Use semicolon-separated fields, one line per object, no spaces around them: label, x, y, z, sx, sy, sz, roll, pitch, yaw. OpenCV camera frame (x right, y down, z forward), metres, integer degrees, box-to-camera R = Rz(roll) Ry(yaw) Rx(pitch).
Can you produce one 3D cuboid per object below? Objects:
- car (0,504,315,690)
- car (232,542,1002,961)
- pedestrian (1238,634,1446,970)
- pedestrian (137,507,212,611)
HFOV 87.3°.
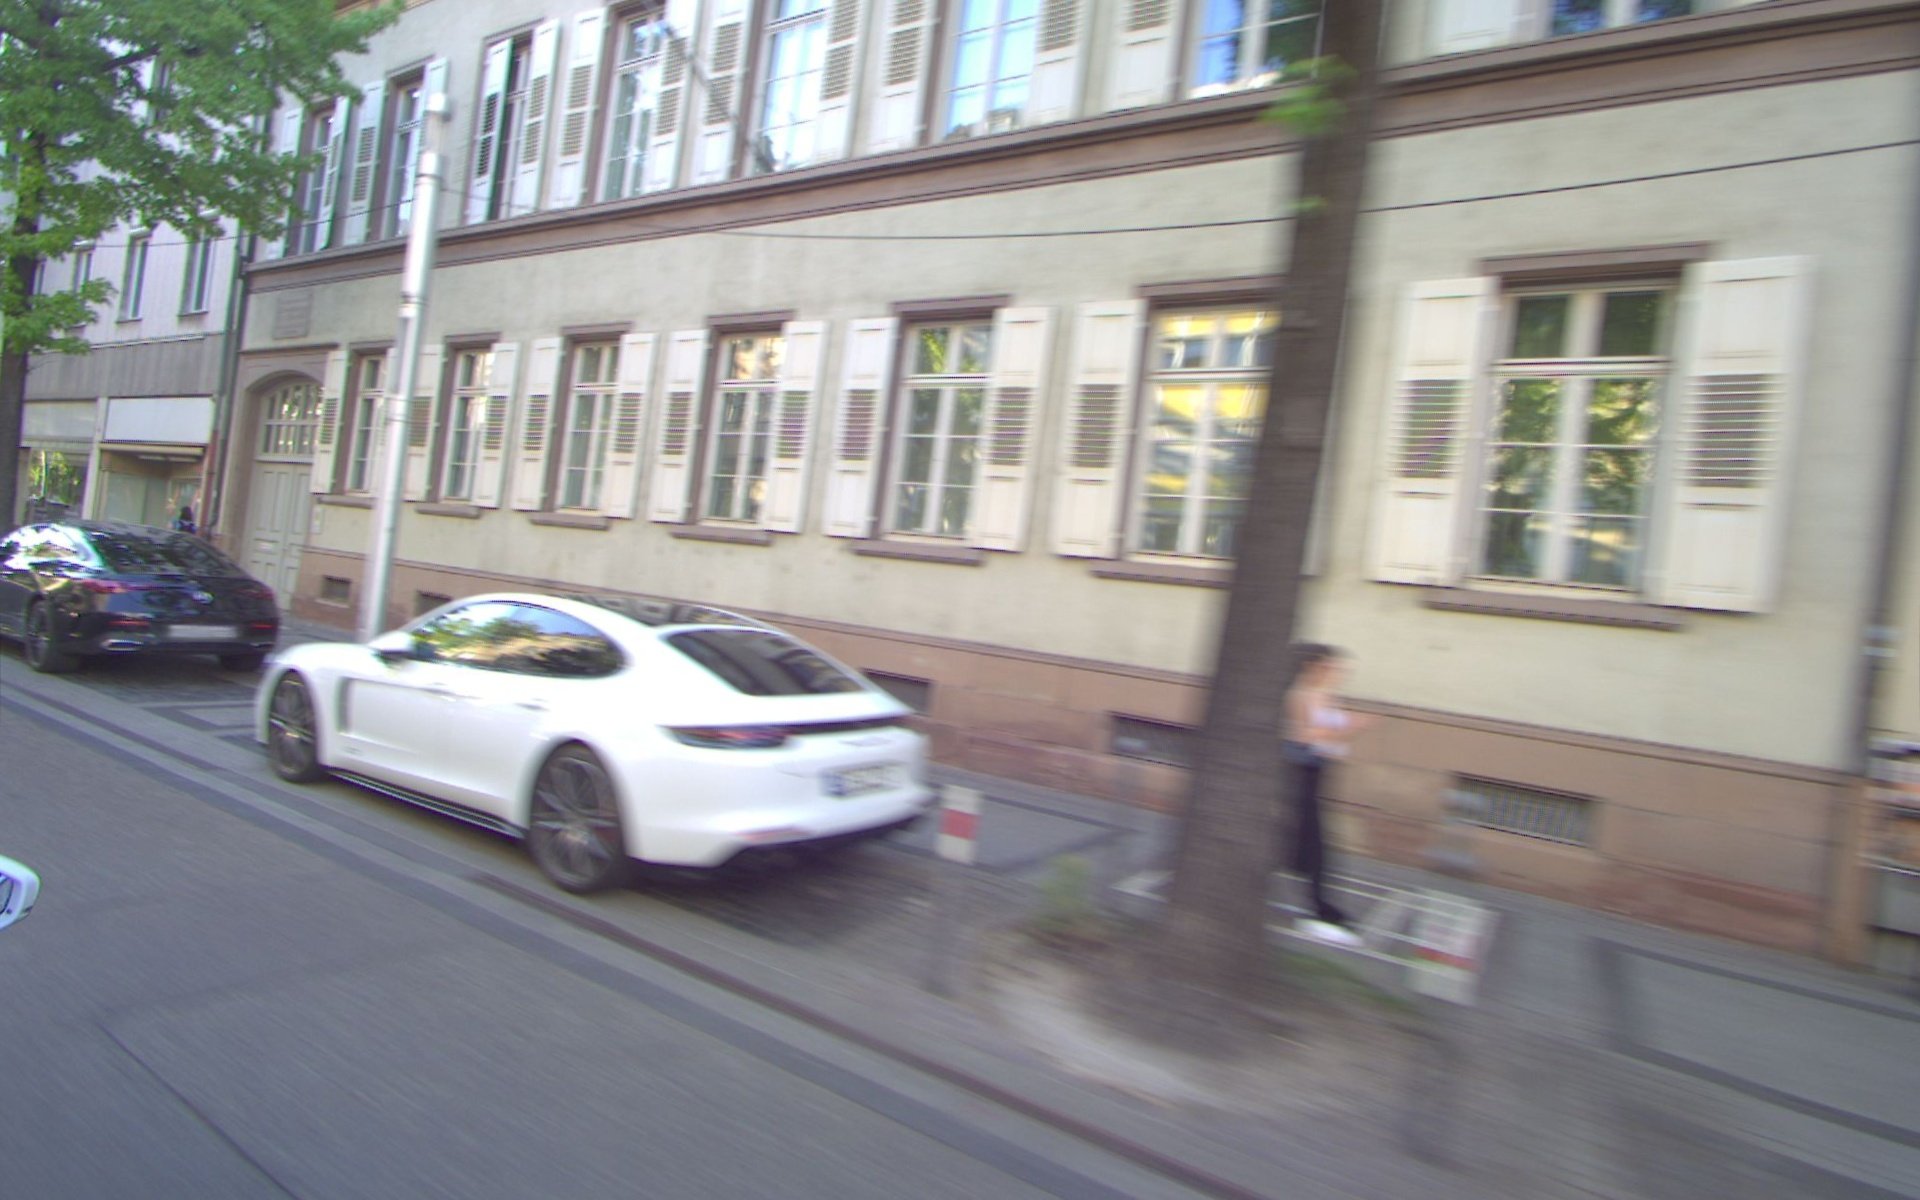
car;-9.140;-0.134;10.767;4.682;1.497;1.834;7;1;31
car;-2.344;0.613;6.303;4.808;1.439;1.913;7;1;33
pedestrian;2.094;1.045;5.492;0.785;1.592;0.650;7;-1;32
pedestrian;-13.534;-0.702;17.326;0.873;1.686;0.658;7;2;31
